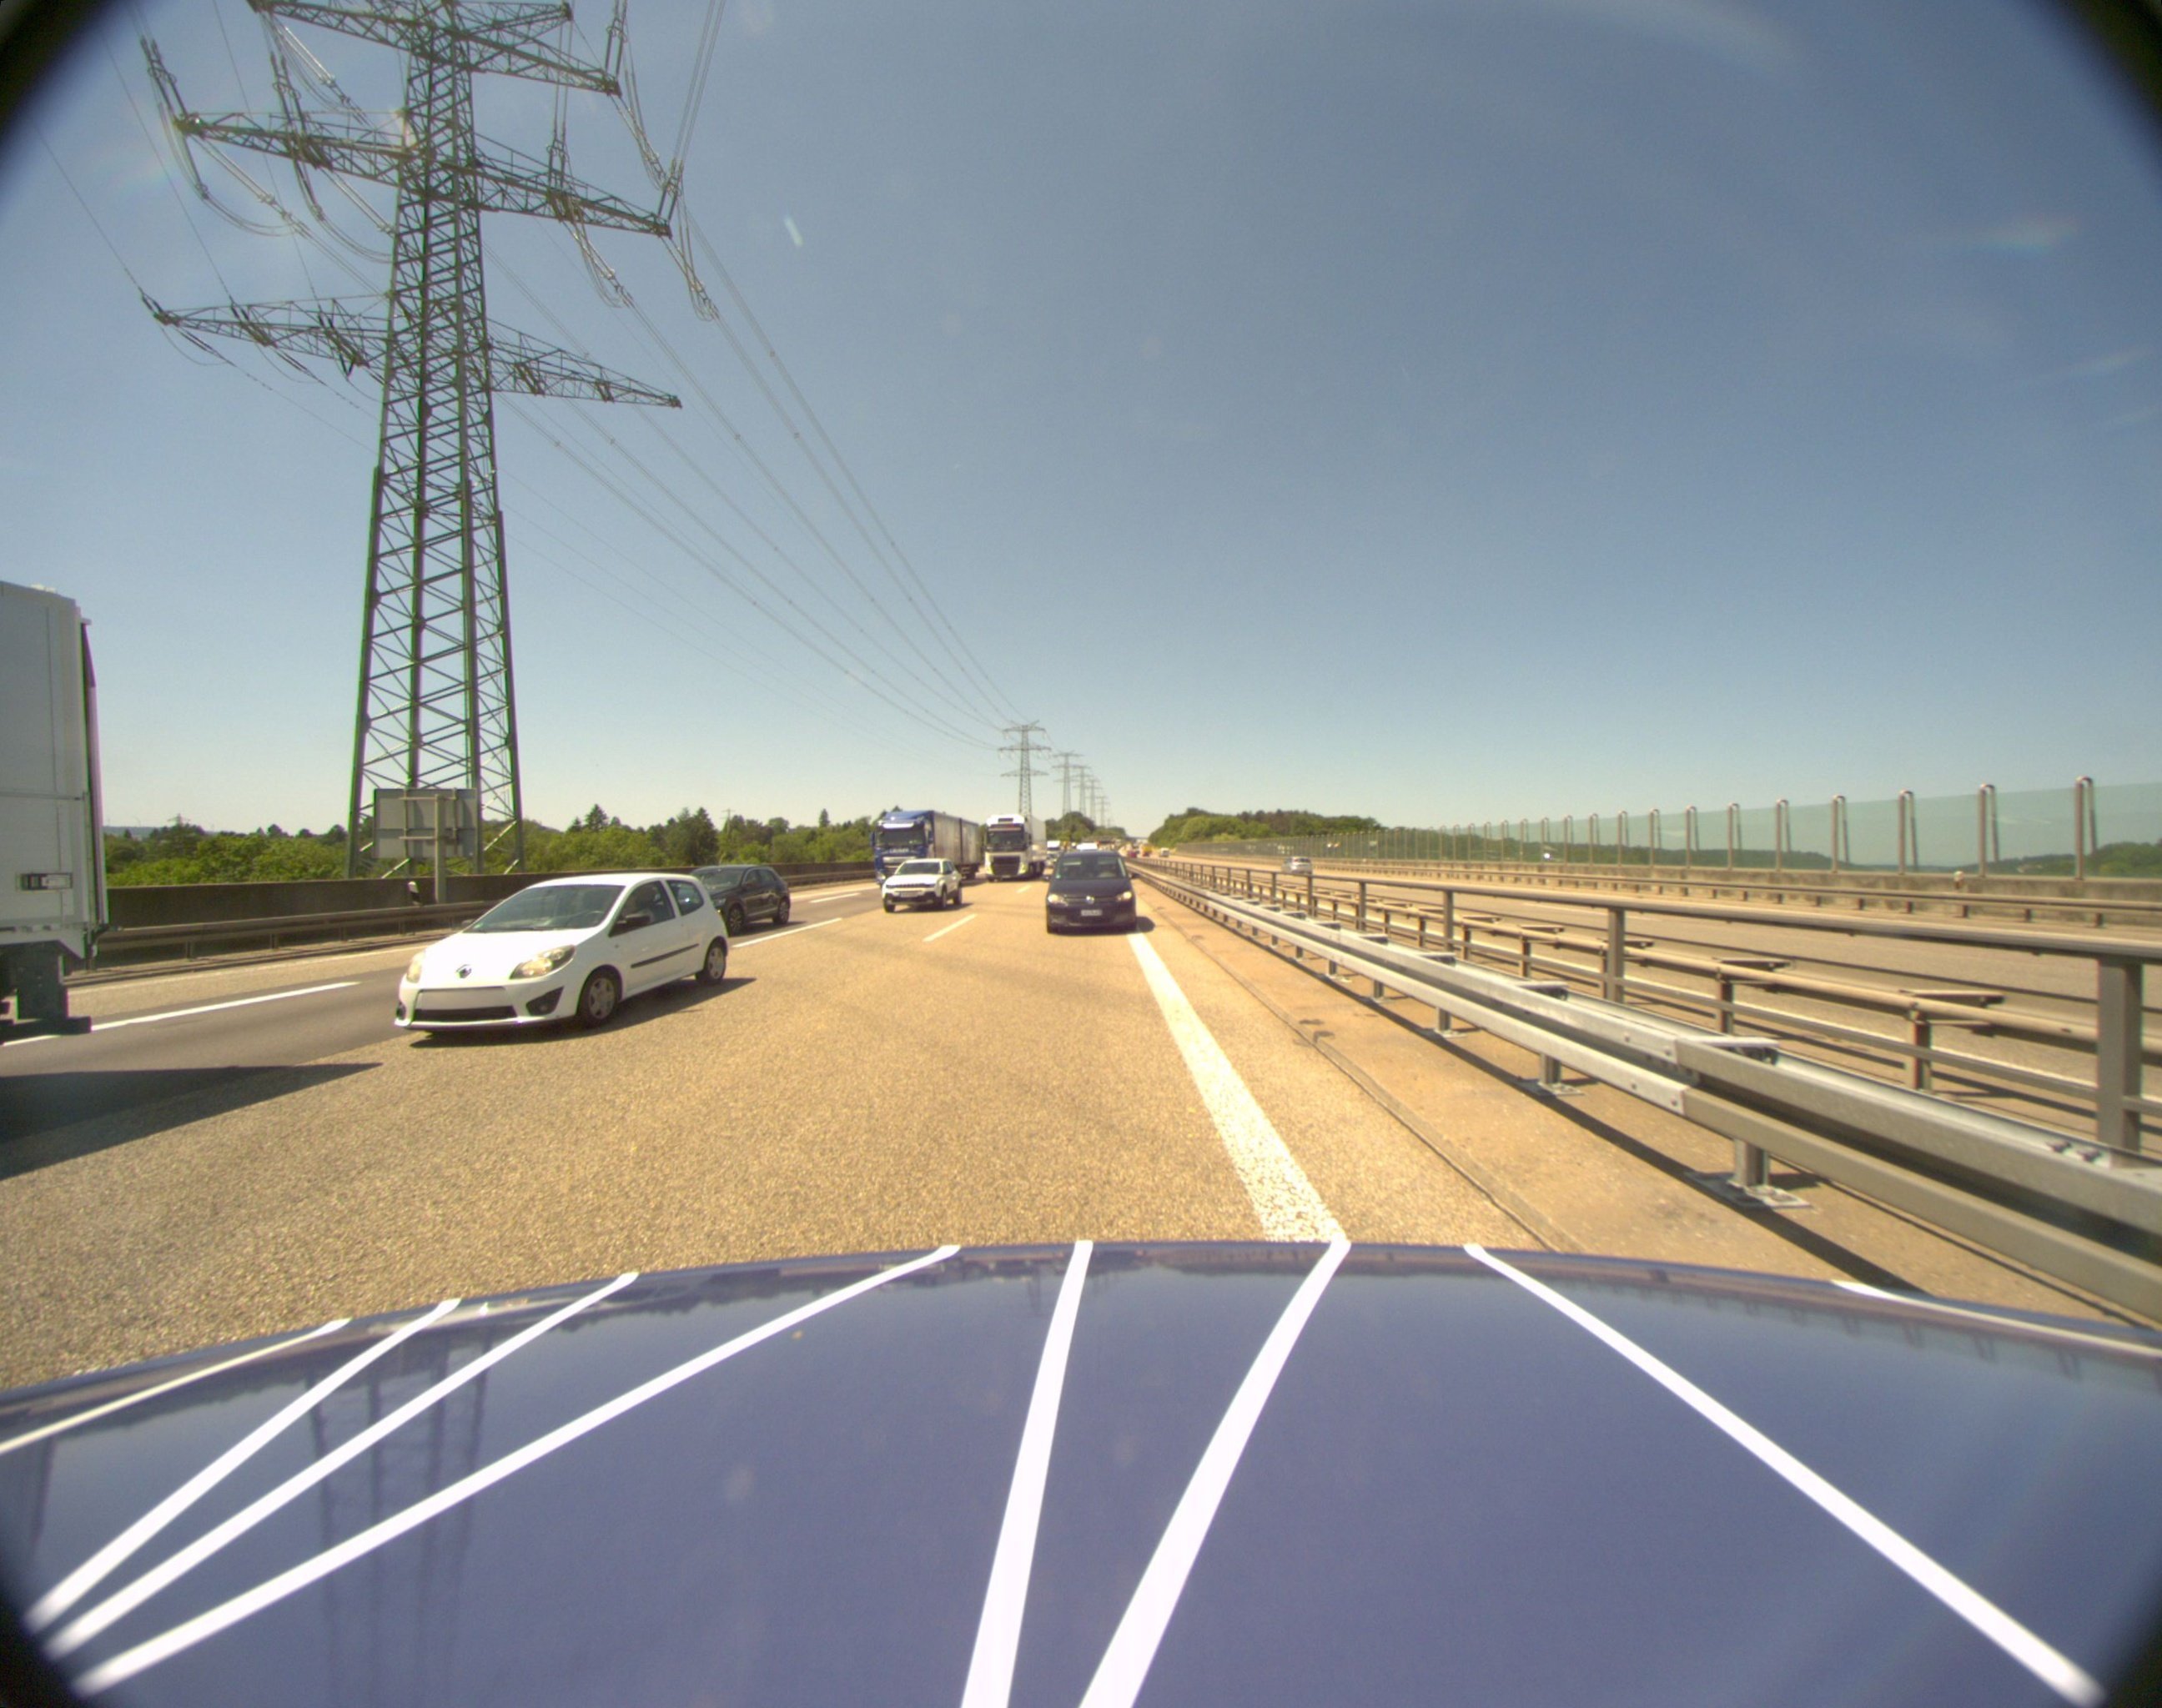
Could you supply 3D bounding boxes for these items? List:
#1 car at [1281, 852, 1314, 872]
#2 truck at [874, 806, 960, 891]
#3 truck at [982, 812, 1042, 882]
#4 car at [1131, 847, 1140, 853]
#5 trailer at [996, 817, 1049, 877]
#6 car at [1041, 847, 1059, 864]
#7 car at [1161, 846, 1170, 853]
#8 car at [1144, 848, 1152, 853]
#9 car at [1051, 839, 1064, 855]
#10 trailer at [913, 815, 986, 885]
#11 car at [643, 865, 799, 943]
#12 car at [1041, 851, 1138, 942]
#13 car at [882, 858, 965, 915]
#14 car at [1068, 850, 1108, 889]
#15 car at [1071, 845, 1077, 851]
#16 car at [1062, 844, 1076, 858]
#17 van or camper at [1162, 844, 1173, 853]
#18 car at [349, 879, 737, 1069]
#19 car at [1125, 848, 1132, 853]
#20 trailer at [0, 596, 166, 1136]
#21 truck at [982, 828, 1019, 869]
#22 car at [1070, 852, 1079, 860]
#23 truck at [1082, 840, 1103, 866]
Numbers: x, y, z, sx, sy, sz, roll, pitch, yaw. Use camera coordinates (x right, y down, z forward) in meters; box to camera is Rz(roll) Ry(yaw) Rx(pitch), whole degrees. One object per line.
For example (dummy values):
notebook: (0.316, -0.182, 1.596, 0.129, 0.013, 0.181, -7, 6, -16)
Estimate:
car: (17.011, 0.605, 59.837, 1.608, 1.386, 3.676, 1, 1, 1)
truck: (-8.433, -0.267, 40.007, 2.517, 3.945, 7.927, -2, 0, 1)
truck: (-4.142, -0.450, 46.907, 2.914, 3.870, 6.739, -2, 1, 0)
car: (12.396, -0.915, 173.795, 1.846, 1.438, 4.418, -2, 1, 1)
trailer: (-4.074, -0.563, 55.171, 2.898, 3.847, 9.773, -2, 1, 1)
car: (-3.374, 0.174, 83.679, 1.672, 1.761, 3.846, -2, 1, 1)
car: (21.609, -1.123, 193.986, 1.860, 1.536, 4.200, 1, 1, 0)
car: (17.748, -0.968, 201.951, 1.805, 1.378, 4.262, 0, 1, 1)
car: (-4.822, -1.523, 158.629, 2.273, 3.304, 6.288, -2, 1, 0)
trailer: (-8.280, -0.322, 49.415, 2.543, 3.971, 10.884, -2, 1, 1)
car: (-8.238, 1.083, 17.820, 1.709, 1.497, 3.888, -2, 0, 1)
car: (0.158, 0.777, 15.990, 1.739, 1.607, 3.911, -2, 0, 0)
car: (-4.785, 0.951, 23.523, 1.722, 1.526, 3.753, -2, 0, 0)
car: (0.313, 0.653, 34.369, 1.685, 1.607, 3.642, -2, 0, 0)
car: (-2.094, -1.922, 240.396, 1.701, 1.599, 3.639, -2, 1, 1)
car: (-1.869, -0.426, 117.180, 1.998, 2.002, 3.999, -2, 1, 1)
van or camper: (21.575, -1.350, 189.098, 1.998, 2.199, 5.536, 1, 1, 0)
car: (-5.415, 1.086, 8.306, 1.584, 1.432, 3.629, -2, 0, 0)
car: (14.221, -0.992, 226.380, 1.845, 1.520, 3.558, -1, 0, 1)
trailer: (-8.612, 0.136, 1.714, 2.851, 3.573, 8.291, -2, 0, 1)
truck: (-8.092, -0.589, 77.145, 2.914, 3.870, 6.739, -2, 1, 0)
car: (-1.225, 0.396, 150.426, 1.701, 1.599, 3.639, -2, 1, 1)
truck: (1.304, -0.151, 84.391, 2.100, 2.700, 5.864, -2, 1, 1)
